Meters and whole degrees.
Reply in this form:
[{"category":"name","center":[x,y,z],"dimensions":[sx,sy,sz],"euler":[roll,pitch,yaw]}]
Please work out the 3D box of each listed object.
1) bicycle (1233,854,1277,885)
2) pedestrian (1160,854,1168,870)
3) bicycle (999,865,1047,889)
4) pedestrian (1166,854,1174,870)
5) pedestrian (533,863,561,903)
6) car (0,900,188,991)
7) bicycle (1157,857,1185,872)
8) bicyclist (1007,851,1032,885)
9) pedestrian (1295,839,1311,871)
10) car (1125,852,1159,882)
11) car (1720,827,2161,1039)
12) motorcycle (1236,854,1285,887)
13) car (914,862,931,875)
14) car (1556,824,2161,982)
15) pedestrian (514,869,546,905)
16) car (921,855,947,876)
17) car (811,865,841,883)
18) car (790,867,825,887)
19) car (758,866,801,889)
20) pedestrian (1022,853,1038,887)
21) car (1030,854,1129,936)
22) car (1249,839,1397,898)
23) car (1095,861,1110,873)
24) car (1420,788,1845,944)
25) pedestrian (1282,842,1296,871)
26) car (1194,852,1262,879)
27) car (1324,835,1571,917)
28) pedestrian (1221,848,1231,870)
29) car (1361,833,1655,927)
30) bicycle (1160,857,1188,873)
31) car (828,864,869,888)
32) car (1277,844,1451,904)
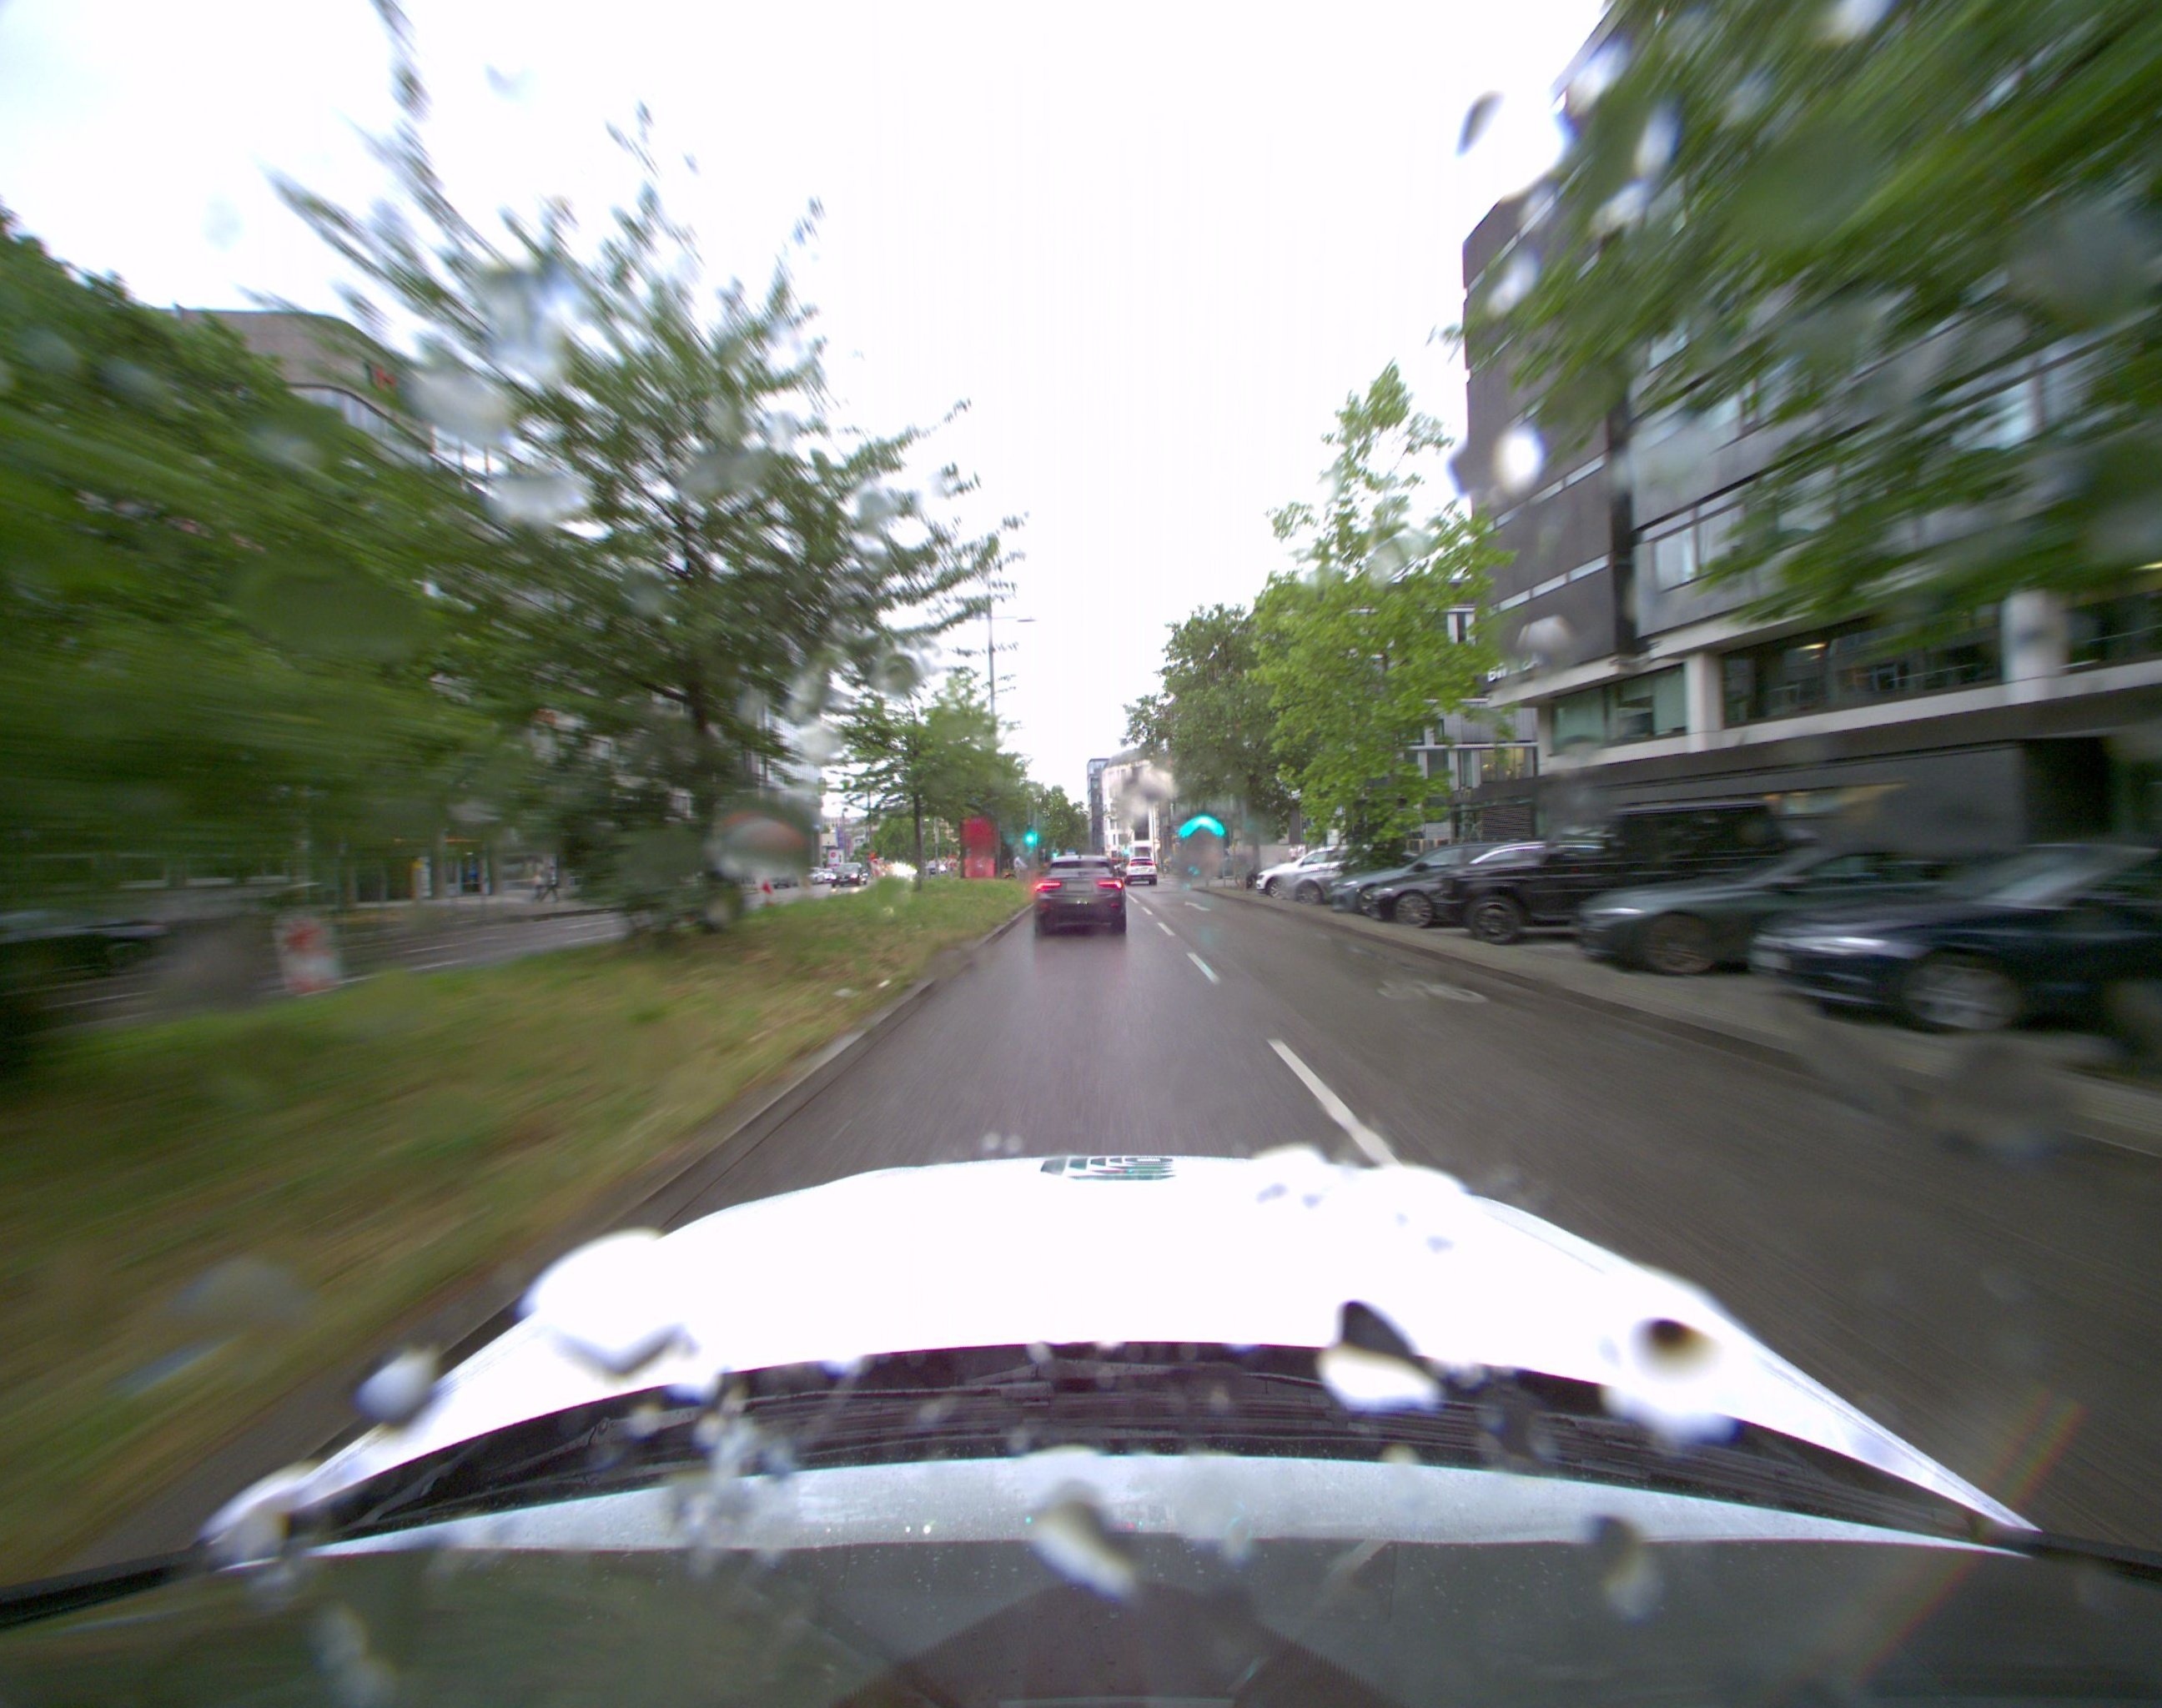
[{"category":"bicycle","center":[8.083,0.730,37.865],"dimensions":[1.970,1.415,0.728],"euler":[-1,-1,10]},{"category":"pedestrian","center":[11.019,1.085,107.712],"dimensions":[0.853,2.014,0.975],"euler":[-1,-1,-3]},{"category":"bicycle","center":[-2.823,1.119,39.797],"dimensions":[2.246,1.162,0.751],"euler":[1,-1,1]},{"category":"pedestrian","center":[11.641,1.056,106.541],"dimensions":[0.853,2.014,0.975],"euler":[-1,-1,-3]},{"category":"pedestrian","center":[-26.158,1.419,39.876],"dimensions":[0.839,1.918,0.677],"euler":[-2,0,0]},{"category":"car","center":[-19.274,1.704,14.425],"dimensions":[1.763,1.394,4.651],"euler":[-5,0,-2]},{"category":"bicycle","center":[8.157,0.972,73.842],"dimensions":[2.334,1.312,0.708],"euler":[-1,0,-5]},{"category":"bicyclist","center":[-3.020,0.694,39.813],"dimensions":[1.100,1.622,0.751],"euler":[1,-1,1]},{"category":"pedestrian","center":[14.804,0.091,54.361],"dimensions":[0.929,2.115,1.079],"euler":[-1,-1,14]},{"category":"car","center":[3.626,0.770,48.925],"dimensions":[1.842,1.669,4.041],"euler":[-1,0,3]},{"category":"car","center":[7.821,0.528,6.243],"dimensions":[4.323,1.436,1.772],"euler":[-2,-1,28]},{"category":"motorcycle","center":[7.864,0.718,35.742],"dimensions":[2.015,1.415,0.728],"euler":[-1,-1,10]},{"category":"car","center":[-21.809,1.979,112.163],"dimensions":[1.729,1.558,3.993],"euler":[-4,0,-5]},{"category":"car","center":[8.033,0.528,9.166],"dimensions":[4.578,1.394,1.859],"euler":[-3,-1,30]},{"category":"pedestrian","center":[-26.202,1.550,38.714],"dimensions":[0.990,1.645,0.677],"euler":[-2,0,1]},{"category":"car","center":[-14.106,1.093,78.382],"dimensions":[1.990,1.826,3.993],"euler":[-4,0,-5]},{"category":"car","center":[-22.739,1.796,72.661],"dimensions":[1.722,1.451,3.587],"euler":[-3,-1,-4]},{"category":"car","center":[-22.455,1.883,67.065],"dimensions":[1.806,1.548,3.992],"euler":[-3,-1,-6]},{"category":"car","center":[-21.944,1.704,59.458],"dimensions":[1.872,1.536,4.068],"euler":[-3,-1,-6]},{"category":"pedestrian","center":[-2.770,0.875,44.414],"dimensions":[0.657,1.793,0.753],"euler":[-1,-1,14]},{"category":"car","center":[0.033,0.776,17.436],"dimensions":[1.842,1.523,4.040],"euler":[-1,0,2]},{"category":"car","center":[7.752,0.482,26.137],"dimensions":[4.177,1.669,1.850],"euler":[-3,0,29]},{"category":"car","center":[2.762,1.654,104.833],"dimensions":[1.842,1.523,4.041],"euler":[-1,0,3]},{"category":"car","center":[7.917,0.238,12.314],"dimensions":[4.890,1.978,1.941],"euler":[-3,0,28]},{"category":"pedestrian","center":[13.933,0.188,54.458],"dimensions":[0.860,1.904,0.888],"euler":[-1,-1,14]},{"category":"car","center":[9.044,0.728,50.312],"dimensions":[3.815,1.568,1.678],"euler":[-2,-2,44]},{"category":"car","center":[7.916,0.487,18.113],"dimensions":[4.738,1.534,1.877],"euler":[-3,0,16]},{"category":"pedestrian","center":[14.555,0.518,81.867],"dimensions":[0.929,2.115,1.079],"euler":[-1,-1,14]},{"category":"car","center":[7.726,0.501,15.129],"dimensions":[4.511,1.507,1.880],"euler":[-3,0,26]},{"category":"bicycle","center":[8.190,0.972,71.936],"dimensions":[2.334,1.312,0.708],"euler":[-1,0,-5]},{"category":"car","center":[-14.894,1.373,52.333],"dimensions":[1.803,1.310,3.991],"euler":[-4,0,-6]},{"category":"car","center":[7.922,0.569,22.914],"dimensions":[4.252,1.488,1.855],"euler":[-3,0,31]}]
